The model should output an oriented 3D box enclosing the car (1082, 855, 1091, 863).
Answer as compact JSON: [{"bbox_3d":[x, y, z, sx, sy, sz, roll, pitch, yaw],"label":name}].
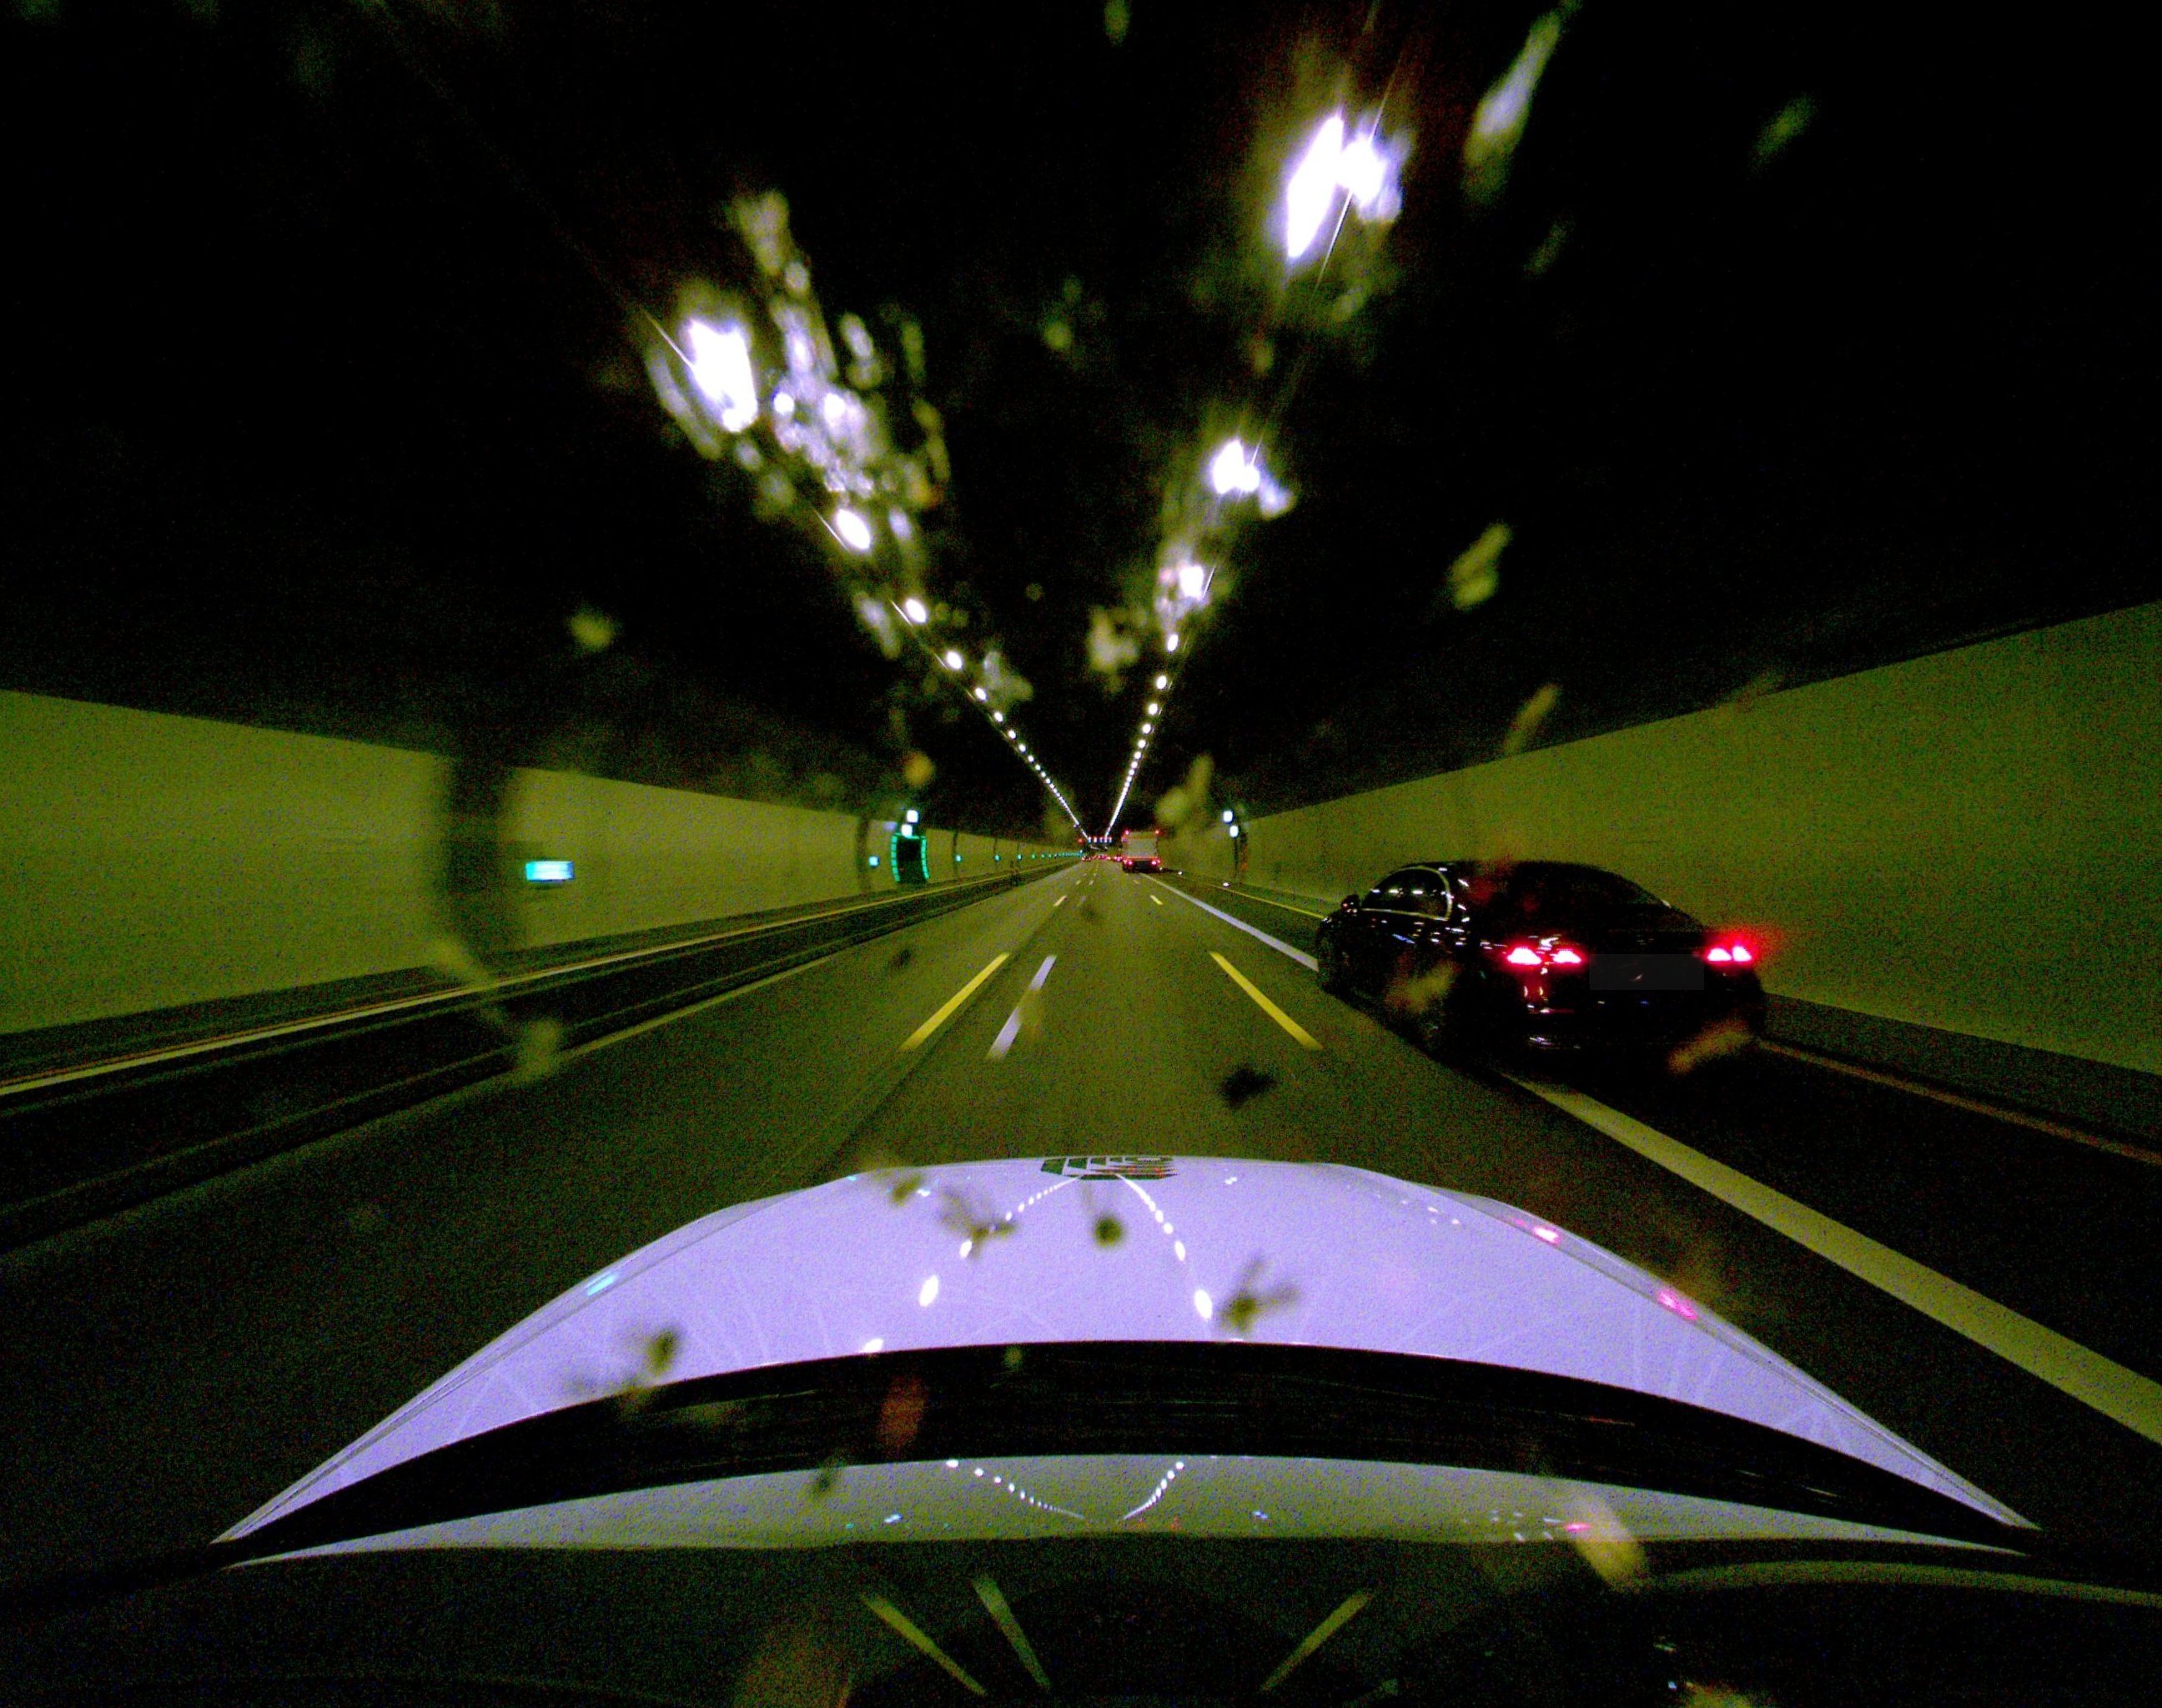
[{"bbox_3d":[1.091,0.965,164.553,1.752,1.461,4.120,-1,0,2],"label":"car"}]

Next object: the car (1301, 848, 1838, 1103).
[{"bbox_3d":[3.522,0.726,7.249,1.918,1.472,4.956,-1,0,2],"label":"car"}]

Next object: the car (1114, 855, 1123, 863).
[{"bbox_3d":[7.338,0.896,158.883,1.732,1.461,3.963,-1,0,3],"label":"car"}]

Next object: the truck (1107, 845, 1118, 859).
[{"bbox_3d":[9.223,-0.446,238.198,3.054,3.918,10.374,0,-1,3],"label":"truck"}]

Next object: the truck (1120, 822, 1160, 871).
[{"bbox_3d":[5.023,-0.560,71.071,3.080,3.918,10.371,0,-1,2],"label":"truck"}]
